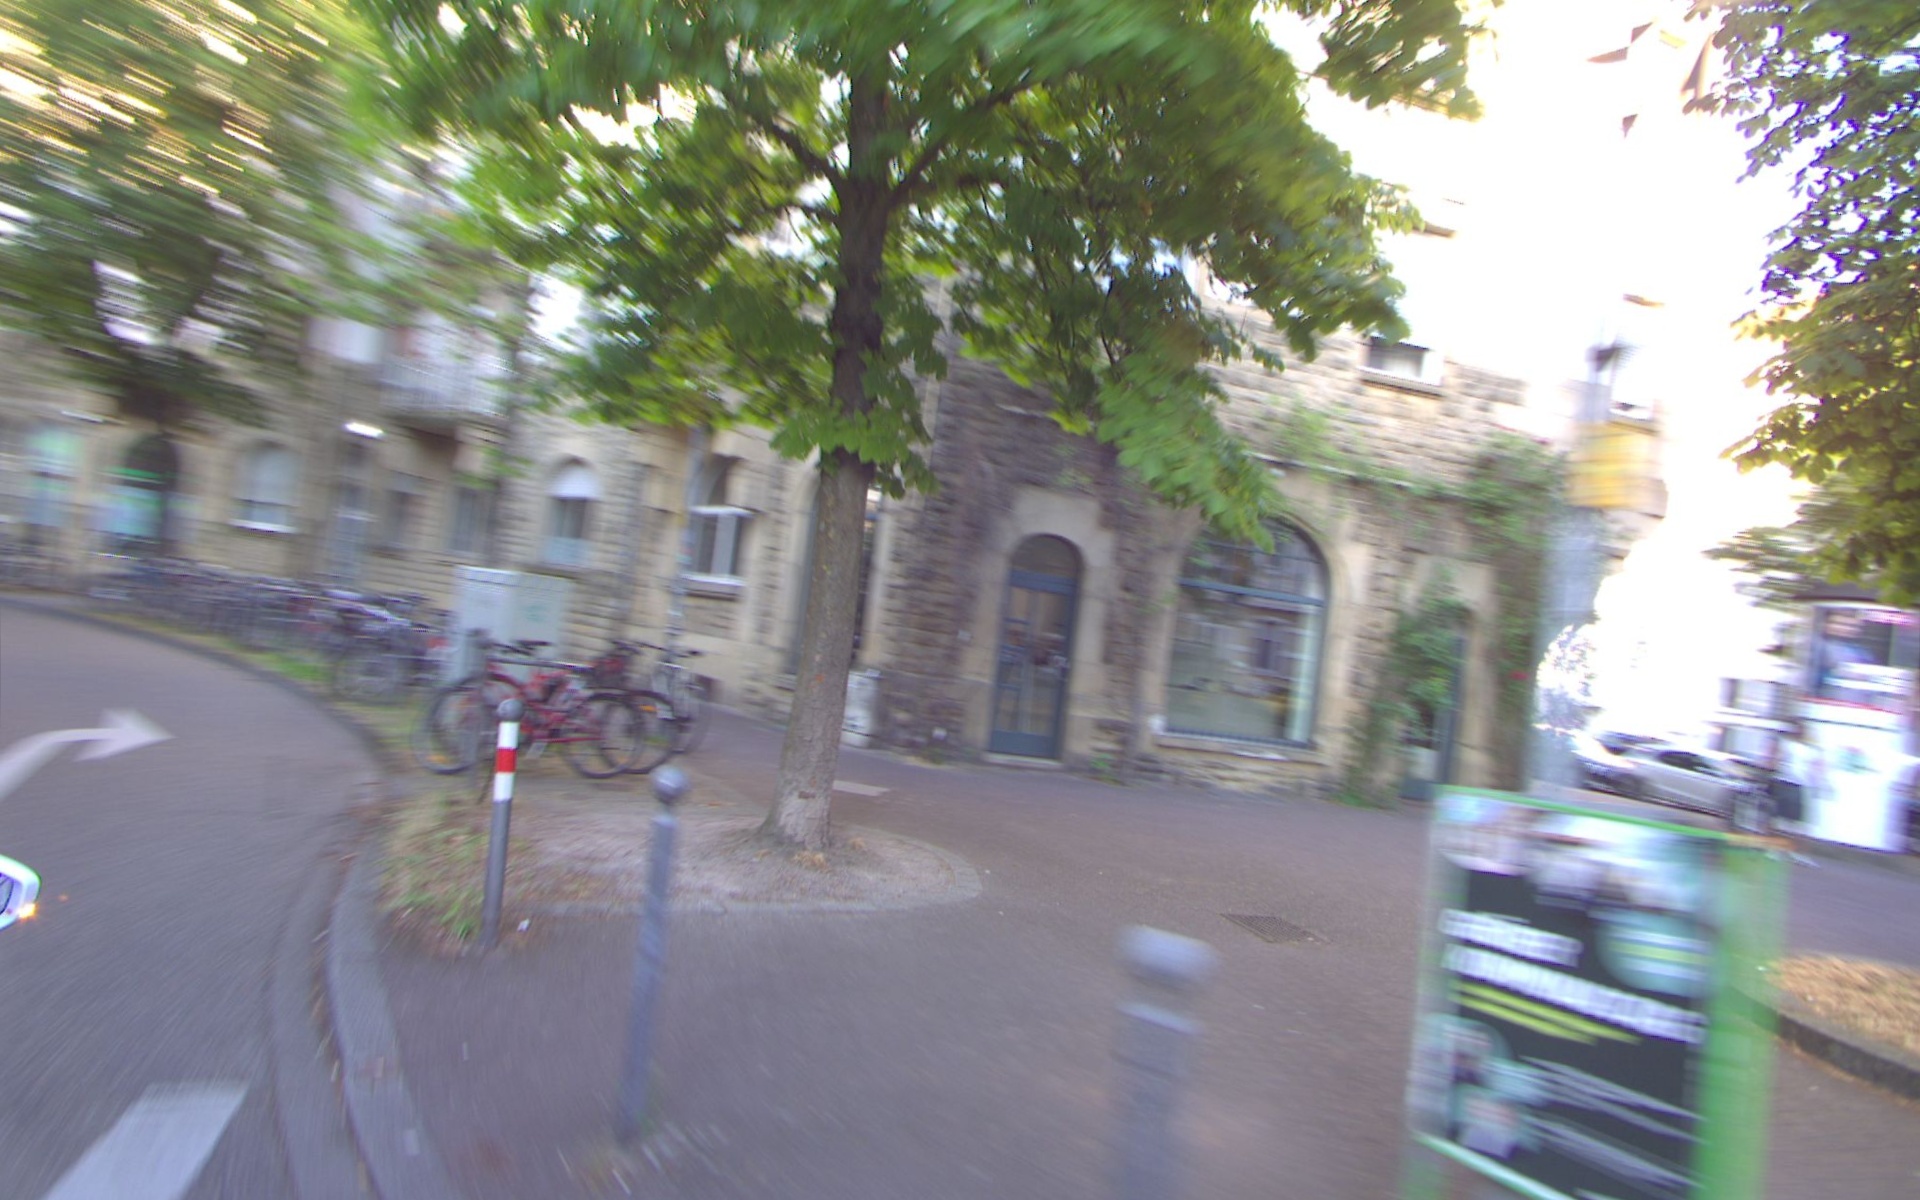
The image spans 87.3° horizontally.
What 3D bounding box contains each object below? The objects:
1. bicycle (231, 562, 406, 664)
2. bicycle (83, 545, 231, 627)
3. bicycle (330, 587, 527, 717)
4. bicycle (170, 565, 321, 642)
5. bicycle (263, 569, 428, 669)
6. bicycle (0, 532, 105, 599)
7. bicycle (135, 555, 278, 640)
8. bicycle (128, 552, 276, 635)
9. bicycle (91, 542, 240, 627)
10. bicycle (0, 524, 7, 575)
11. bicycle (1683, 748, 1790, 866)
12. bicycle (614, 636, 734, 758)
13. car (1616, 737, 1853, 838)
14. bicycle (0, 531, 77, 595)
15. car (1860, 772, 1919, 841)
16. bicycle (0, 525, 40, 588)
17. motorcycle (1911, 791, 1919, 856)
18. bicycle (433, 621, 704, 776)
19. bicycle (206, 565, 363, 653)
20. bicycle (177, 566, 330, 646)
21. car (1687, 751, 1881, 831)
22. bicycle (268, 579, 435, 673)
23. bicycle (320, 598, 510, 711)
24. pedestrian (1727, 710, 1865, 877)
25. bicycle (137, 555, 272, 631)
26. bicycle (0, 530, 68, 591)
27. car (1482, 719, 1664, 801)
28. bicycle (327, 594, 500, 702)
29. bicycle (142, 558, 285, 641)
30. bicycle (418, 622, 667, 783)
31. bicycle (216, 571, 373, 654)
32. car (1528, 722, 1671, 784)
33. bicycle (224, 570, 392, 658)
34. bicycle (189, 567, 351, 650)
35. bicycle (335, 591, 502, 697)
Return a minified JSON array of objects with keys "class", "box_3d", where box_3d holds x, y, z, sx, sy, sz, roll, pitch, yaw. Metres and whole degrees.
[{"class":"bicycle","box_3d":[-9.023,0.216,14.236,0.544,1.214,1.916,7,-2,35]},{"class":"bicycle","box_3d":[-13.892,-0.212,17.474,0.483,1.152,1.888,11,-2,21]},{"class":"bicycle","box_3d":[-5.438,0.556,10.367,0.548,1.161,1.599,6,-2,45]},{"class":"bicycle","box_3d":[-11.309,0.085,15.993,0.412,1.011,1.852,7,-2,34]},{"class":"bicycle","box_3d":[-8.412,0.289,13.854,0.441,1.182,1.791,7,-2,37]},{"class":"bicycle","box_3d":[-17.526,-0.654,19.275,0.477,1.091,1.677,7,-2,16]},{"class":"bicycle","box_3d":[-12.356,-0.009,16.546,0.414,1.136,1.852,-15,-14,31]},{"class":"bicycle","box_3d":[-12.632,-0.079,16.838,0.412,1.158,1.852,7,-2,34]},{"class":"bicycle","box_3d":[-13.542,-0.227,17.217,0.484,1.230,1.881,0,-6,33]},{"class":"bicycle","box_3d":[-20.549,-1.083,20.166,0.691,1.176,1.893,7,-2,17]},{"class":"bicycle","box_3d":[9.908,2.595,12.911,0.624,1.202,1.912,7,-1,27]},{"class":"bicycle","box_3d":[-2.892,0.935,10.062,0.429,0.980,1.708,8,-1,-39]},{"class":"car","box_3d":[17.197,4.126,22.604,1.797,1.499,3.903,8,-3,-11]},{"class":"bicycle","box_3d":[-18.057,-0.729,19.240,0.477,1.091,1.677,7,-2,16]},{"class":"car","box_3d":[24.437,5.222,24.084,1.798,1.499,3.901,8,-3,-13]},{"class":"bicycle","box_3d":[-19.291,-0.921,19.710,0.477,1.141,1.675,13,1,25]},{"class":"motorcycle","box_3d":[16.362,3.743,15.925,0.569,1.066,1.830,7,-2,-10]},{"class":"bicycle","box_3d":[-3.096,0.815,8.064,1.881,1.051,0.428,8,-1,-33]},{"class":"bicycle","box_3d":[-10.220,0.161,15.286,0.413,1.129,1.850,7,-2,38]},{"class":"bicycle","box_3d":[-11.070,0.120,15.836,0.412,1.064,1.852,7,-2,34]},{"class":"car","box_3d":[23.442,5.408,28.809,1.798,1.499,3.899,8,-3,-14]},{"class":"bicycle","box_3d":[-8.150,0.371,13.549,0.441,1.076,1.791,7,-2,37]},{"class":"bicycle","box_3d":[-5.752,0.599,10.678,0.548,1.032,1.599,6,-2,45]},{"class":"pedestrian","box_3d":[10.374,2.354,12.540,0.963,1.810,1.005,7,0,28]},{"class":"bicycle","box_3d":[-12.943,-0.086,17.304,0.563,1.117,1.858,7,-2,11]},{"class":"bicycle","box_3d":[-18.887,-0.827,19.931,0.477,1.091,1.676,7,-2,23]},{"class":"car","box_3d":[16.218,4.194,26.864,1.797,1.499,4.000,8,-3,-11]},{"class":"bicycle","box_3d":[-6.202,0.573,11.490,0.413,1.076,1.601,6,-2,41]},{"class":"bicycle","box_3d":[-12.127,0.019,16.402,0.414,1.098,1.852,-15,-14,31]},{"class":"bicycle","box_3d":[-3.124,0.796,7.604,1.592,1.051,0.428,8,-1,-33]},{"class":"bicycle","box_3d":[-9.949,0.212,15.120,0.413,1.026,1.850,7,-2,38]},{"class":"car","box_3d":[21.959,5.226,34.745,1.798,1.499,3.900,8,-3,-14]},{"class":"bicycle","box_3d":[-9.524,0.233,14.780,0.544,1.077,1.917,7,-2,35]},{"class":"bicycle","box_3d":[-10.651,0.159,15.607,0.527,1.073,1.917,7,-2,35]},{"class":"bicycle","box_3d":[-6.354,0.542,11.881,0.413,1.088,1.601,6,-2,41]}]
